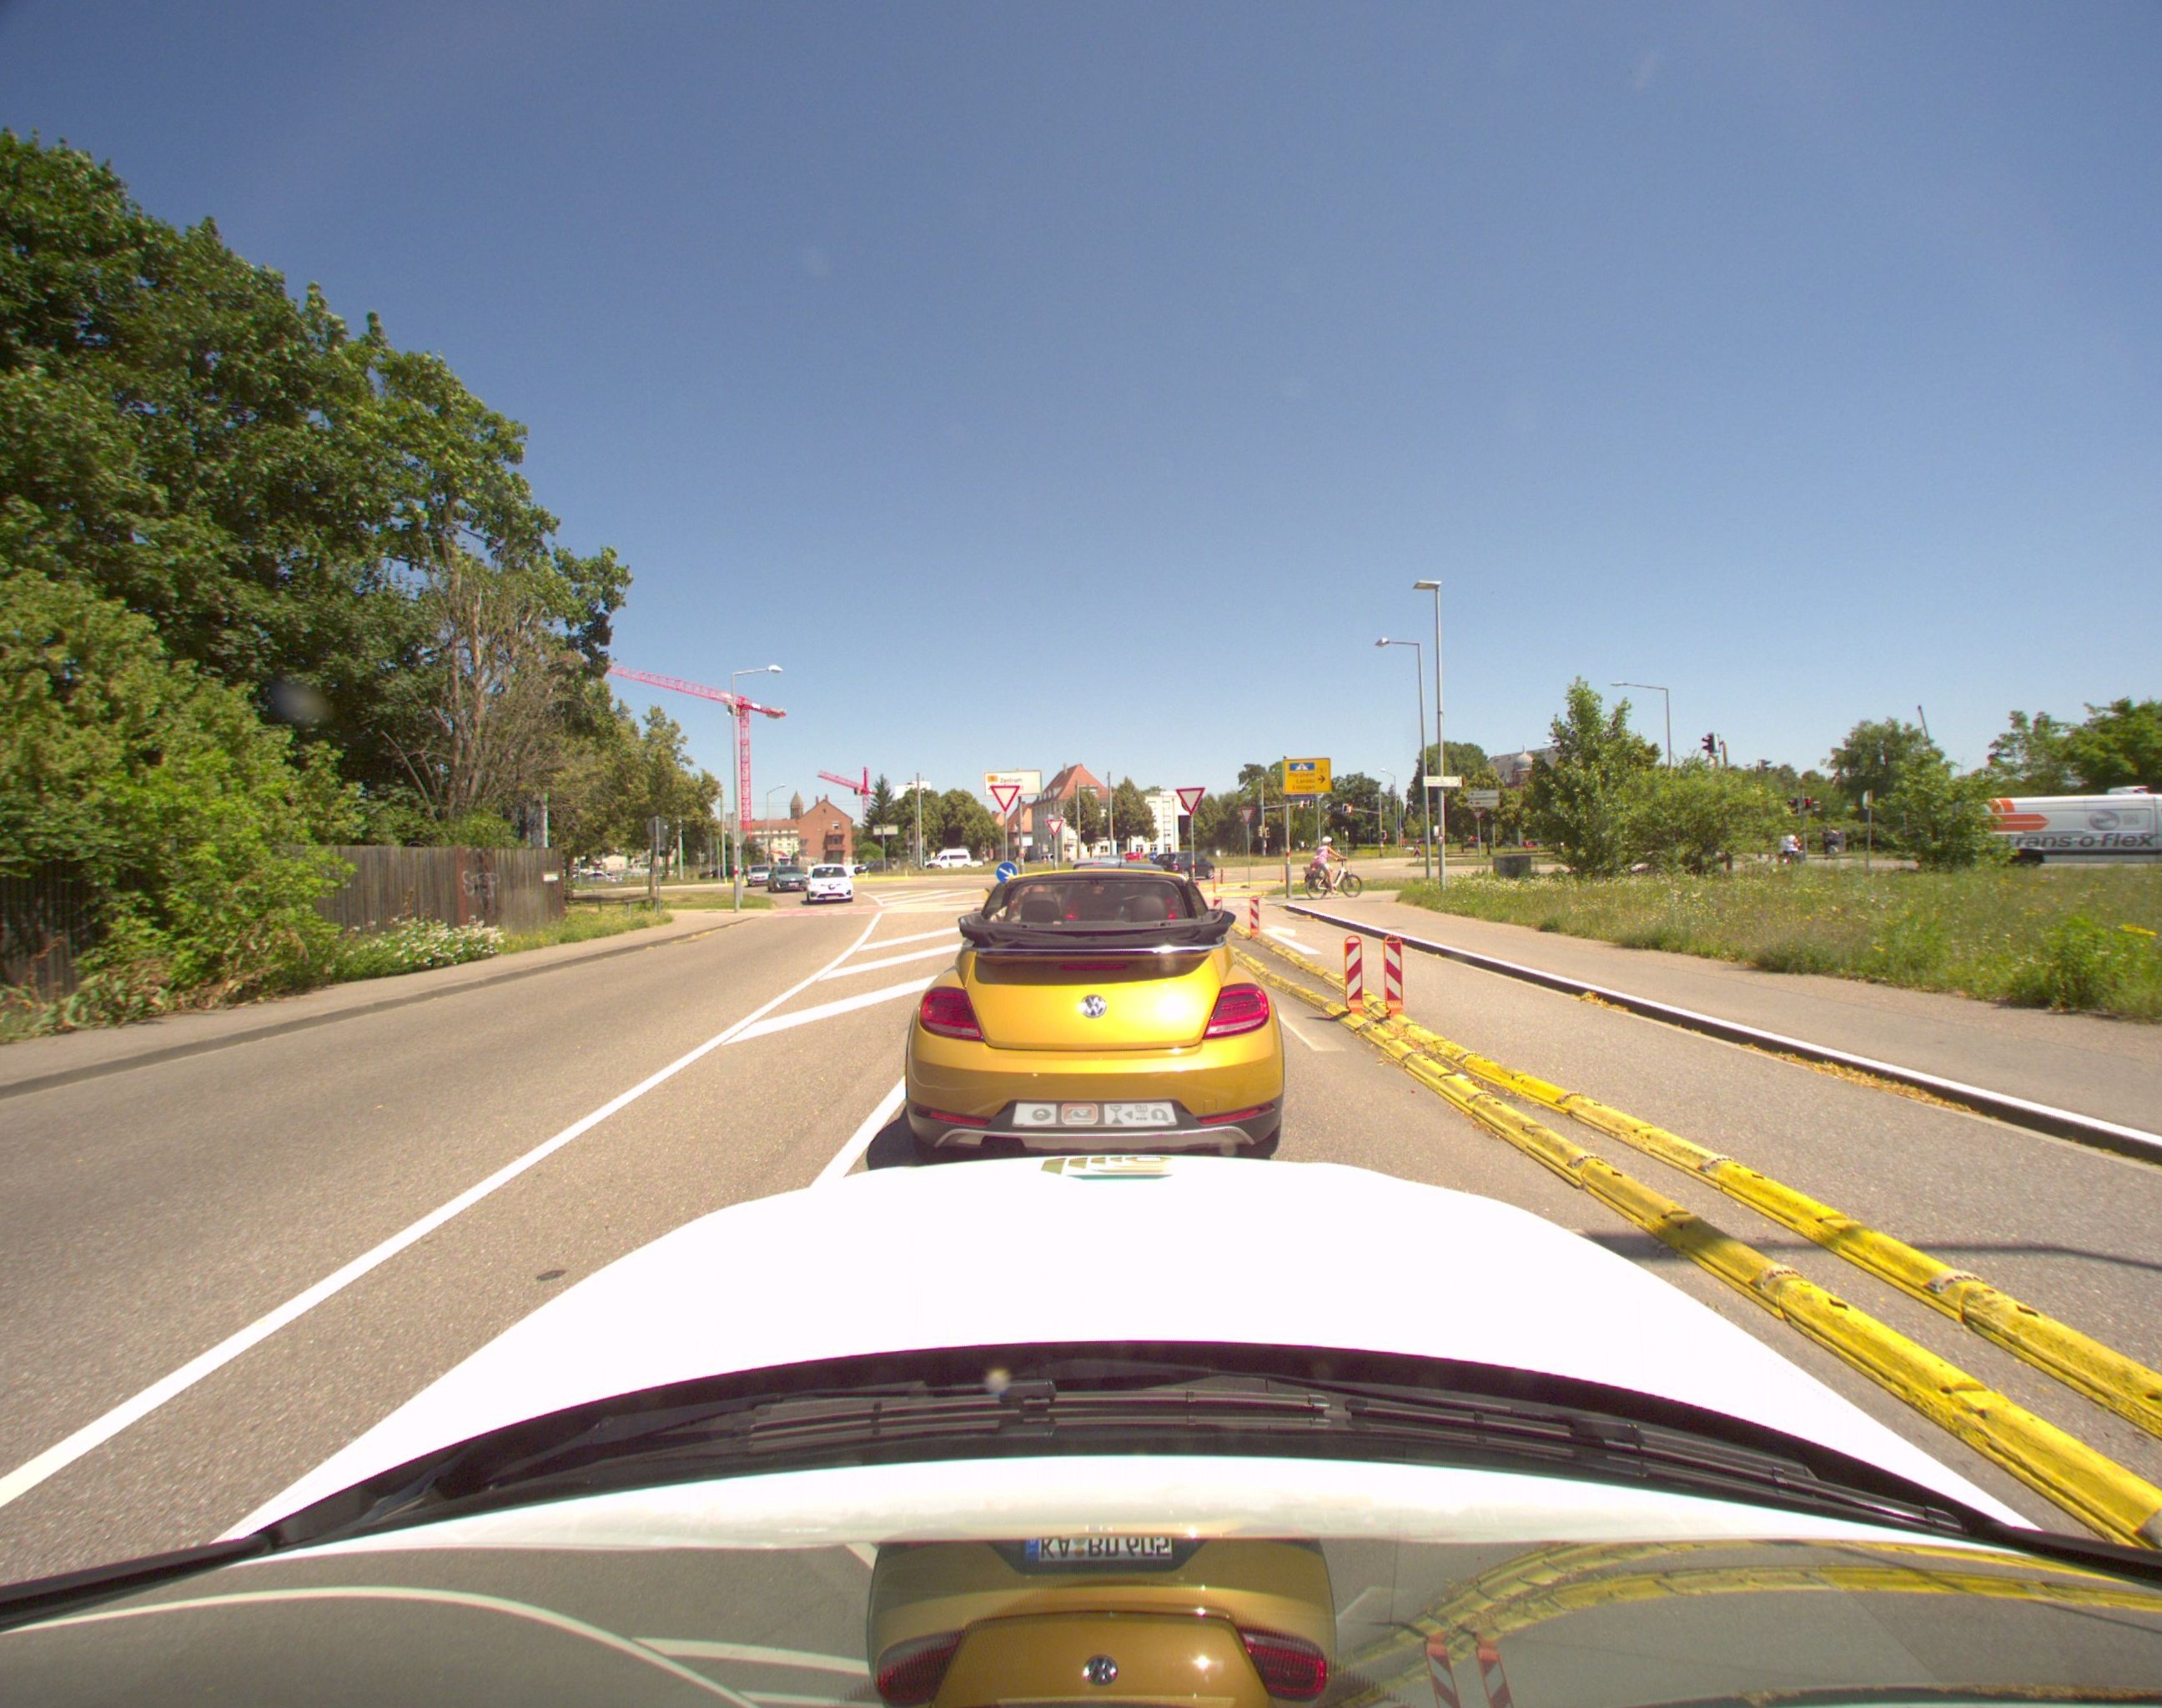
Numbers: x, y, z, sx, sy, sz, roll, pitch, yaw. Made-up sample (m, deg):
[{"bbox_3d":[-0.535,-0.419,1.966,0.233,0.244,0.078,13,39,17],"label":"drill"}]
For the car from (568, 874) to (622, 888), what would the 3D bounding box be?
[{"bbox_3d":[-48.697,2.676,81.700,4.312,1.371,1.748,0,-1,-6],"label":"car"}]

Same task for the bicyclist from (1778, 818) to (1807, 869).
[{"bbox_3d":[25.766,-0.365,29.502,0.573,1.841,0.603,0,-1,-29],"label":"bicyclist"}]

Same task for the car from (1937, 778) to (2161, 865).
[{"bbox_3d":[34.905,-1.054,28.317,6.795,2.828,2.013,-1,-1,37],"label":"car"}]

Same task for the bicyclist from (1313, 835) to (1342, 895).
[{"bbox_3d":[7.498,0.328,24.795,0.666,1.752,0.593,-3,1,5],"label":"bicyclist"}]

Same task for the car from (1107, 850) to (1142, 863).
[{"bbox_3d":[5.599,0.370,104.984,4.305,1.654,1.907,-1,-1,11],"label":"car"}]

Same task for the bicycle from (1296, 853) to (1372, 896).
[{"bbox_3d":[7.673,0.604,24.767,2.082,1.221,0.634,-2,0,4],"label":"bicycle"}]

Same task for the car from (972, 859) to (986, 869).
[{"bbox_3d":[-18.806,1.886,149.650,1.889,1.772,3.977,0,-1,-17],"label":"car"}]

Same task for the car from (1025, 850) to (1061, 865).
[{"bbox_3d":[-5.490,0.489,117.615,5.261,2.070,2.006,-1,-1,43],"label":"car"}]

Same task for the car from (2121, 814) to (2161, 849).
[{"bbox_3d":[51.147,-1.056,37.084,4.389,1.592,1.860,-1,-1,43],"label":"car"}]

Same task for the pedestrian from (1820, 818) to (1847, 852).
[{"bbox_3d":[37.910,-0.951,41.038,0.959,1.660,0.892,-1,-1,44],"label":"pedestrian"}]

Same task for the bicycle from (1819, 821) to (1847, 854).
[{"bbox_3d":[38.009,-0.822,41.148,0.972,1.597,2.900,-1,-1,43],"label":"bicycle"}]

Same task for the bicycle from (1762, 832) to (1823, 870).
[{"bbox_3d":[25.831,-0.113,29.541,2.902,1.353,0.635,0,-1,-27],"label":"bicycle"}]

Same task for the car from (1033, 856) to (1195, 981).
[{"bbox_3d":[0.455,0.757,11.637,1.844,1.366,4.260,-2,0,2],"label":"car"}]

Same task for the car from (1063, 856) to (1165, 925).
[{"bbox_3d":[0.786,0.758,18.646,2.056,1.382,4.261,0,-1,3],"label":"car"}]

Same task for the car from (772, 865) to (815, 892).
[{"bbox_3d":[-16.015,1.331,45.514,1.748,1.371,4.311,0,-1,-13],"label":"car"}]

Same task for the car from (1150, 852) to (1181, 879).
[{"bbox_3d":[4.085,0.567,39.575,1.427,1.259,3.221,0,-1,4],"label":"car"}]

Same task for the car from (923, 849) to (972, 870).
[{"bbox_3d":[-15.531,0.603,94.755,5.352,2.397,1.972,0,-1,-37],"label":"car"}]

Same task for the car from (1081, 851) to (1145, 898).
[{"bbox_3d":[1.128,0.673,29.149,2.057,1.481,4.545,-2,0,2],"label":"car"}]

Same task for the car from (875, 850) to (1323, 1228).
[{"bbox_3d":[0.134,0.746,5.339,1.758,1.481,4.259,0,-1,2],"label":"car"}]

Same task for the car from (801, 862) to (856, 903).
[{"bbox_3d":[-10.329,1.117,33.179,1.783,1.527,3.844,-2,0,-22],"label":"car"}]

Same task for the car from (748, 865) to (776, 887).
[{"bbox_3d":[-22.381,1.518,57.012,1.734,1.402,4.239,0,-1,-22],"label":"car"}]
